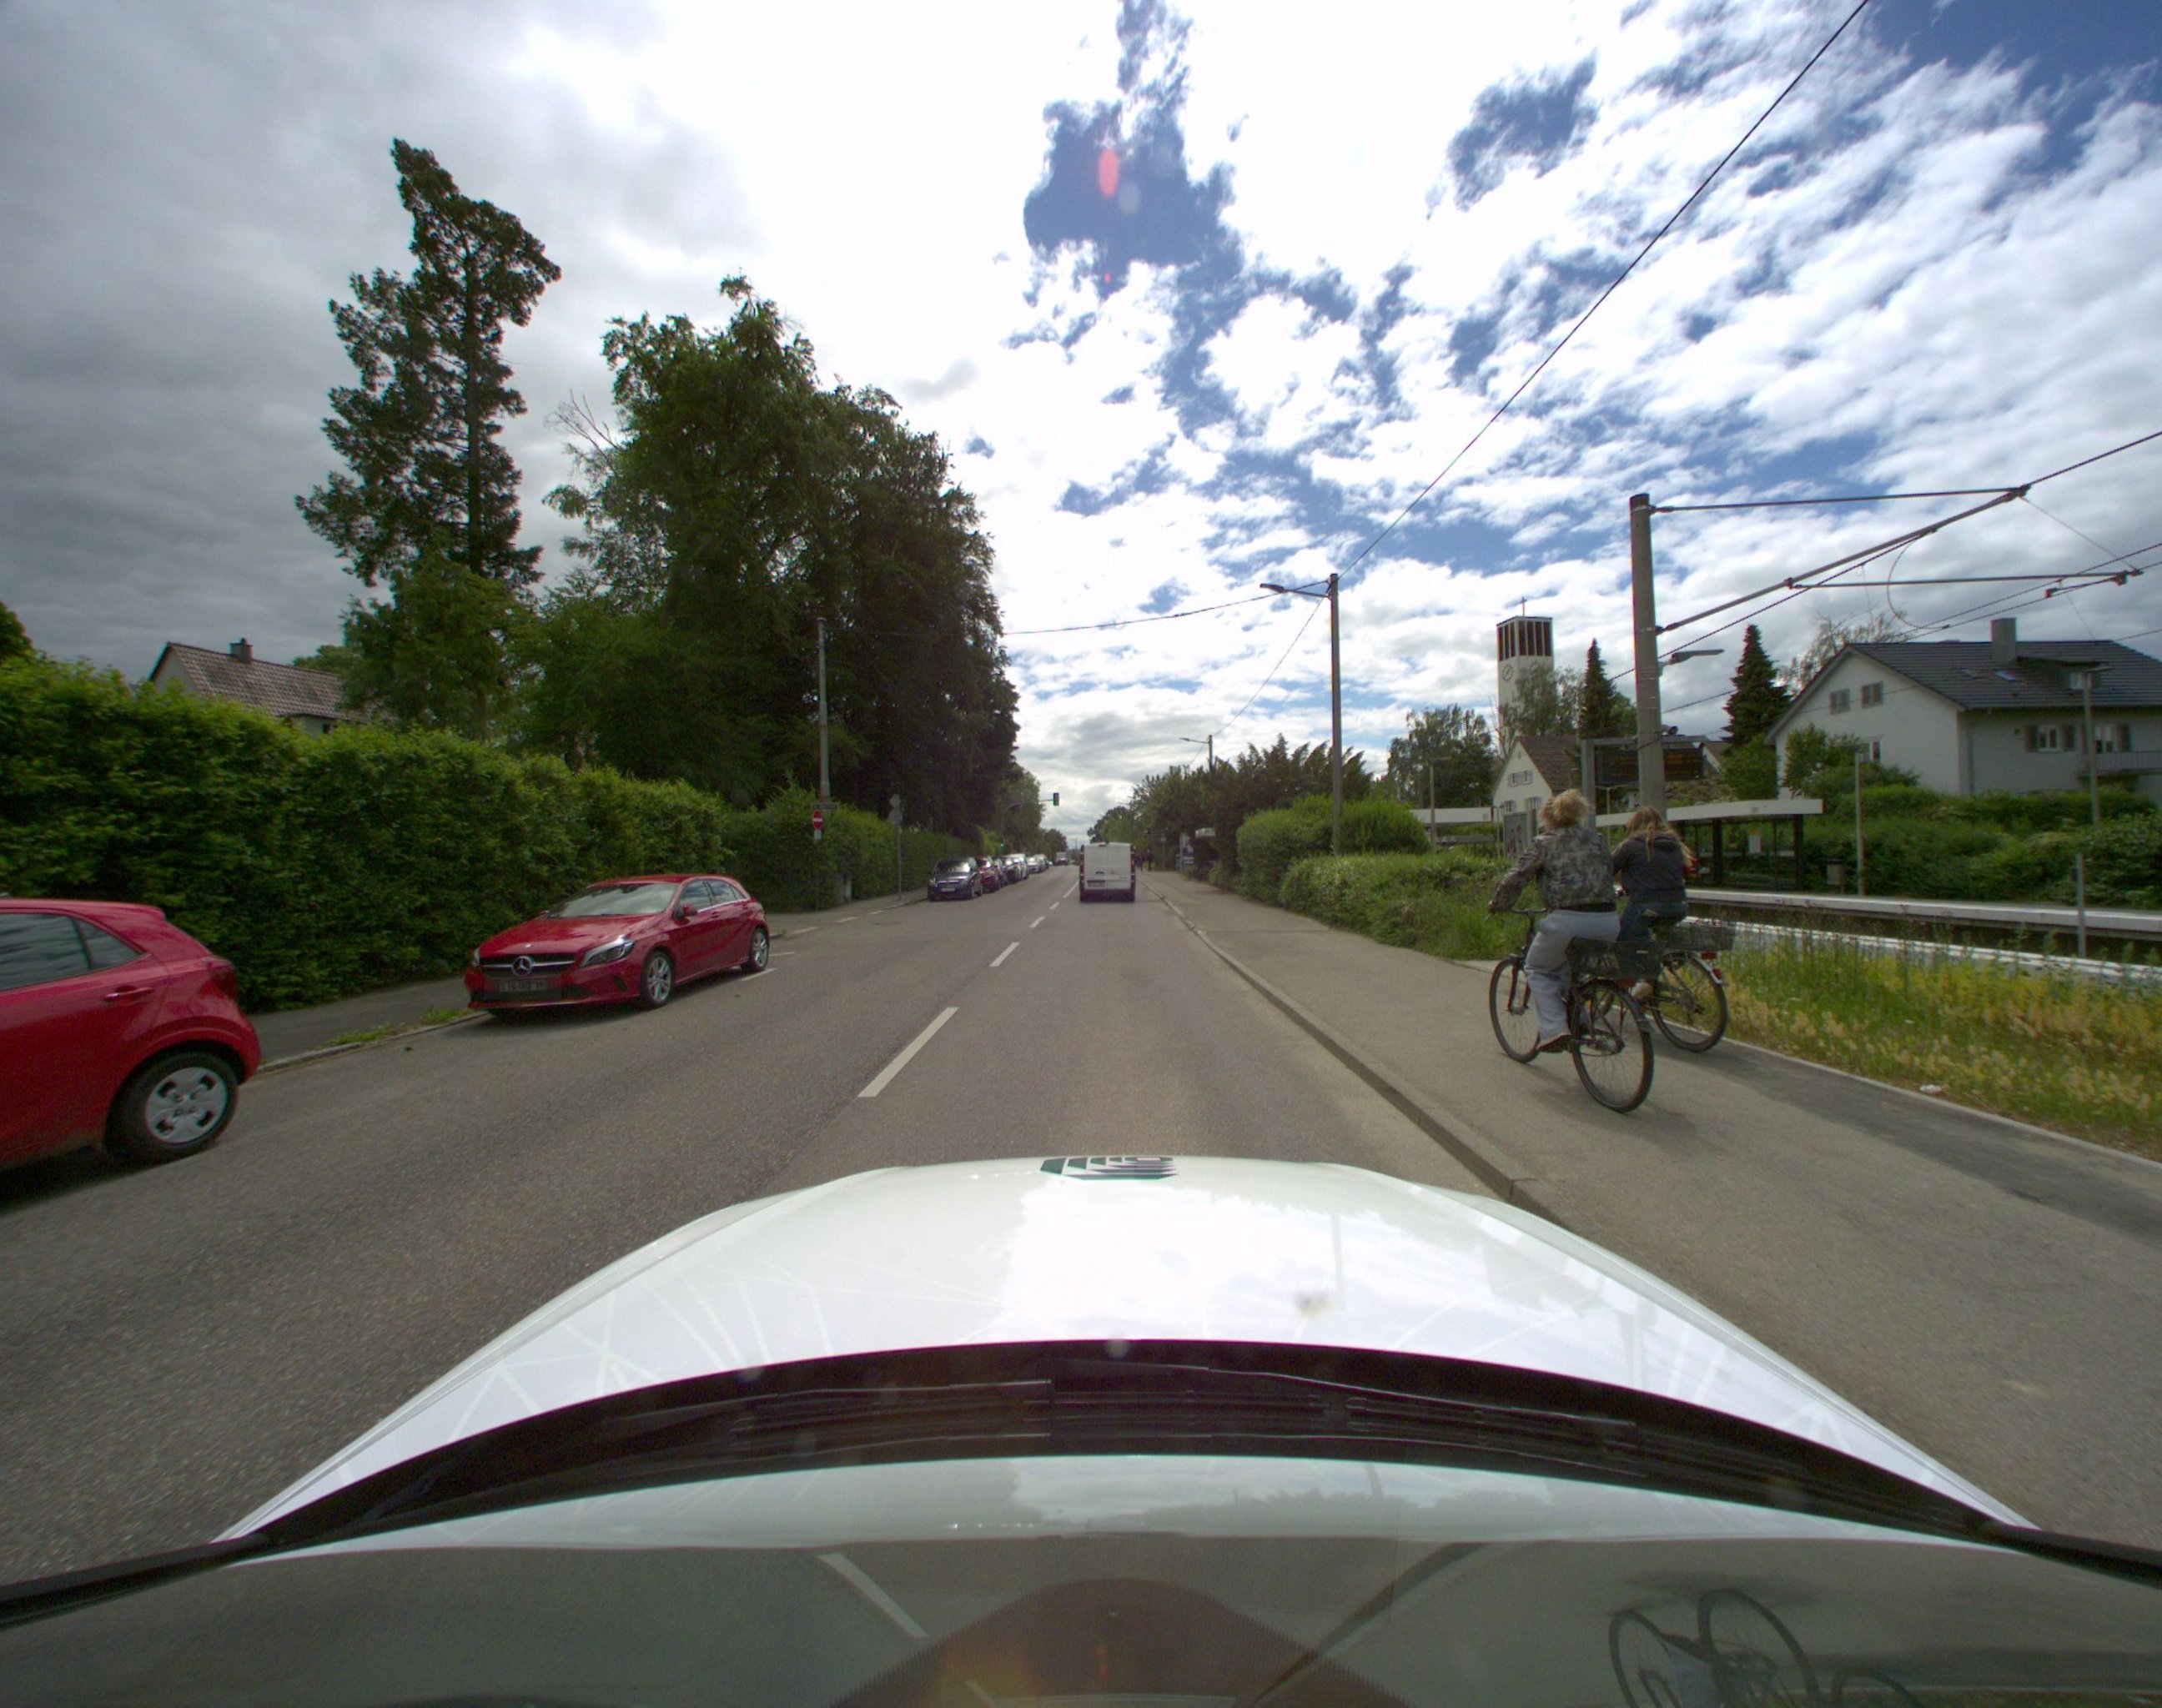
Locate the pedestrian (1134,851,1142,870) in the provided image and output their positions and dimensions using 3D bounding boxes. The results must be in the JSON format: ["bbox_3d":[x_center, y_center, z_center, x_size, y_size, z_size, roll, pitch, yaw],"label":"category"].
[{"bbox_3d":[5.456,0.587,77.933,0.649,1.807,0.564,0,0,-10],"label":"pedestrian"}]

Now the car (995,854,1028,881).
[{"bbox_3d":[-4.515,0.869,53.207,1.756,1.656,3.815,-2,0,0],"label":"car"}]

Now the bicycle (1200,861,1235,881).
[{"bbox_3d":[7.088,0.894,42.298,1.693,1.030,0.491,-1,0,0],"label":"bicycle"}]

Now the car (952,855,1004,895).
[{"bbox_3d":[-4.626,0.896,37.128,1.756,1.656,4.061,-2,0,0],"label":"car"}]

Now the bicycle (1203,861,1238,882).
[{"bbox_3d":[7.057,0.862,41.167,1.693,1.030,0.491,-1,0,0],"label":"bicycle"}]

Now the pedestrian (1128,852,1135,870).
[{"bbox_3d":[5.285,0.693,85.333,0.700,1.851,0.666,-1,0,1],"label":"pedestrian"}]

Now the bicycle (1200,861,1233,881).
[{"bbox_3d":[7.123,0.902,42.861,1.693,1.030,0.491,-1,0,0],"label":"bicycle"}]

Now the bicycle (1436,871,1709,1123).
[{"bbox_3d":[2.982,0.759,5.227,0.544,1.246,2.056,-1,0,1],"label":"bicycle"}]

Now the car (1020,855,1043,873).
[{"bbox_3d":[-4.455,0.884,73.752,1.756,1.557,3.815,-2,0,0],"label":"car"}]

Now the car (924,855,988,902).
[{"bbox_3d":[-4.758,0.873,31.456,1.756,1.626,4.185,-2,0,0],"label":"car"}]

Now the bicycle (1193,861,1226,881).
[{"bbox_3d":[6.862,0.908,43.554,1.693,1.030,0.491,-1,0,0],"label":"bicycle"}]

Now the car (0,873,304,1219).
[{"bbox_3d":[-5.630,0.899,3.222,1.582,1.505,3.517,-2,0,3],"label":"car"}]

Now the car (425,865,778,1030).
[{"bbox_3d":[-5.405,0.930,9.951,1.756,1.471,4.185,-2,0,0],"label":"car"}]

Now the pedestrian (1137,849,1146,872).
[{"bbox_3d":[4.788,0.538,64.763,0.676,1.841,0.647,-1,0,7],"label":"pedestrian"}]

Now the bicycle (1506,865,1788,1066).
[{"bbox_3d":[4.278,0.736,6.458,0.616,1.246,2.396,-1,0,1],"label":"bicycle"}]

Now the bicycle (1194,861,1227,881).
[{"bbox_3d":[7.013,0.908,44.071,1.693,1.030,0.491,-1,0,0],"label":"bicycle"}]

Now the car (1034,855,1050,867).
[{"bbox_3d":[-4.929,0.868,103.477,1.773,1.424,4.002,-1,0,2],"label":"car"}]

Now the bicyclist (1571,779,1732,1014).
[{"bbox_3d":[4.268,0.300,6.148,0.637,1.650,0.819,-1,0,1],"label":"bicyclist"}]

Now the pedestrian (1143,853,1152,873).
[{"bbox_3d":[5.588,0.770,68.296,0.671,1.696,0.523,-1,0,6],"label":"pedestrian"}]

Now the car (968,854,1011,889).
[{"bbox_3d":[-4.718,0.884,42.493,1.756,1.656,3.815,-2,0,0],"label":"car"}]

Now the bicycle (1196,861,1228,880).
[{"bbox_3d":[7.157,0.916,44.621,1.693,1.030,0.491,-1,0,0],"label":"bicycle"}]

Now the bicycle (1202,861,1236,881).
[{"bbox_3d":[7.063,0.862,41.723,1.693,1.030,0.491,-1,0,0],"label":"bicycle"}]

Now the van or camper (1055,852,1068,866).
[{"bbox_3d":[-3.233,0.780,137.259,1.998,2.261,4.610,-2,0,-1],"label":"van or camper"}]

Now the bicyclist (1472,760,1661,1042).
[{"bbox_3d":[2.967,0.266,5.050,0.715,1.612,0.758,-1,0,1],"label":"bicyclist"}]

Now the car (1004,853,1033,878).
[{"bbox_3d":[-4.604,0.817,60.182,1.756,1.756,3.815,-2,0,0],"label":"car"}]

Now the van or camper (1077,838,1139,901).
[{"bbox_3d":[0.941,0.511,28.456,1.986,2.014,4.447,0,-1,2],"label":"van or camper"}]

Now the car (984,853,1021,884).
[{"bbox_3d":[-4.592,0.826,47.957,1.756,1.656,3.815,-2,0,0],"label":"car"}]
